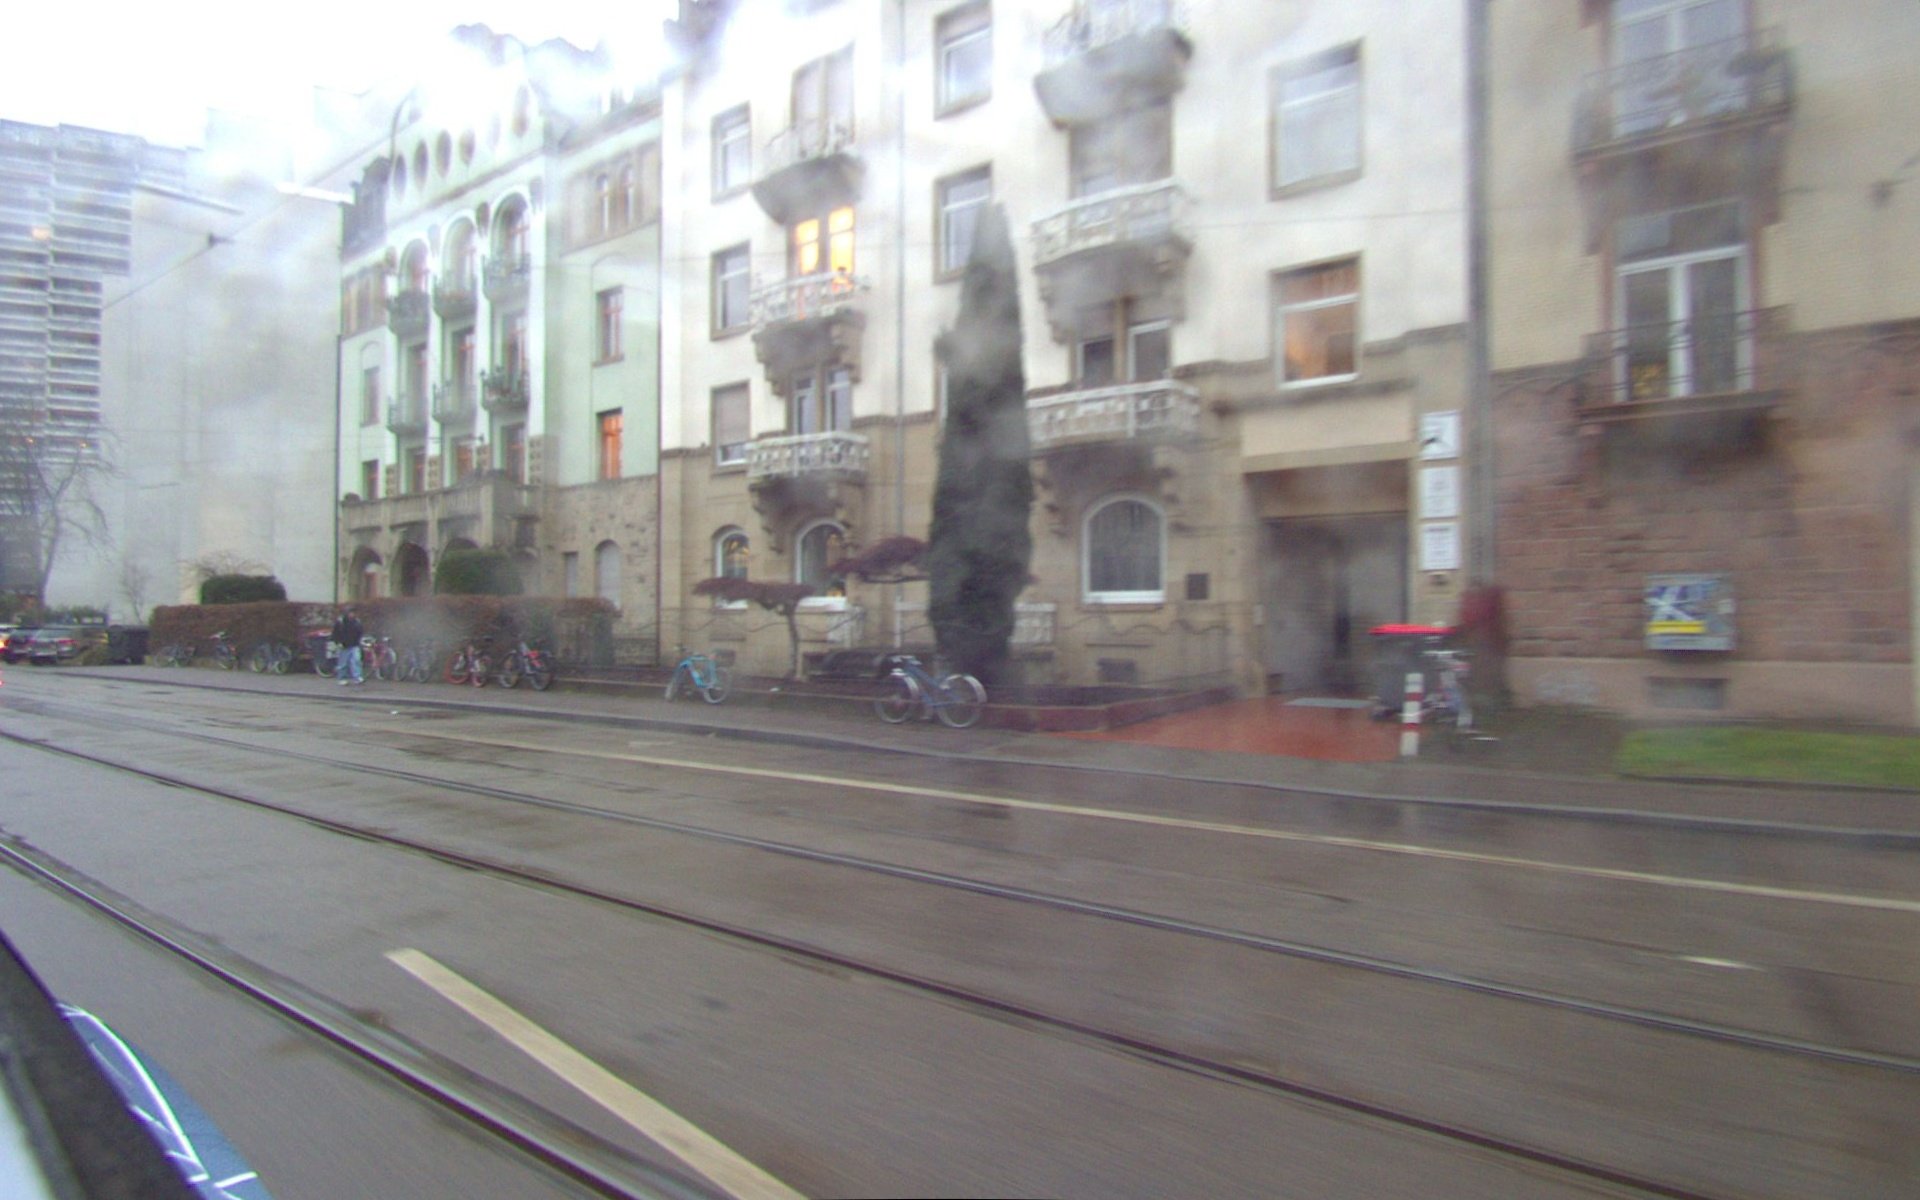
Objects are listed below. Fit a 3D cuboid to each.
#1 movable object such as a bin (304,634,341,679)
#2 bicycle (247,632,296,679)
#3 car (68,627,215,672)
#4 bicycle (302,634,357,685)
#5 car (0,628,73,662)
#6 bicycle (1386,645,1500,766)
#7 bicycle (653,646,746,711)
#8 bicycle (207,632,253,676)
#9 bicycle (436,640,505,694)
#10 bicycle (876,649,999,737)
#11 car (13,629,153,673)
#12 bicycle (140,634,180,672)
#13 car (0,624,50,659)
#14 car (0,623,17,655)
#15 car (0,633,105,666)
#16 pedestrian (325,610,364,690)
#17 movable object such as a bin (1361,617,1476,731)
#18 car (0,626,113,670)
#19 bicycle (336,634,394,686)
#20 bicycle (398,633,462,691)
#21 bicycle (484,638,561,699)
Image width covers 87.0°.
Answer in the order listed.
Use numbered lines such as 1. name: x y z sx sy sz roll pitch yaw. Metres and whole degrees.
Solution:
1. movable object such as a bin: -17.030 1.498 27.033 0.674 1.173 0.651 -1 -2 39
2. bicycle: -18.626 1.486 27.363 1.660 1.221 0.617 -1 -2 39
3. car: -29.732 1.761 36.927 1.847 1.505 3.991 0 -1 7
4. bicycle: -15.636 1.447 25.081 1.660 1.221 0.617 -1 -2 39
5. car: -42.702 2.010 45.698 1.842 1.460 4.000 0 -1 -1
6. bicycle: 5.523 1.128 11.485 0.694 1.114 2.327 -1 0 37
7. bicycle: -4.343 1.278 16.820 1.660 1.010 0.617 -1 -2 39
8. bicycle: -20.760 1.525 28.782 1.660 1.221 0.617 -1 -2 39
9. bicycle: -10.269 1.380 21.207 1.724 1.073 0.617 -1 -2 39
10. bicycle: -0.321 1.228 13.738 1.660 1.101 0.617 -1 -2 39
11. car: -32.291 1.841 37.412 1.739 1.497 4.000 0 -1 -1
12. bicycle: -25.162 1.650 31.830 1.660 1.173 0.617 -1 -1 39
13. car: -46.037 1.964 48.181 1.842 1.608 4.000 0 -1 -1
14. car: -48.619 1.914 49.187 1.842 1.608 4.000 0 -1 -1
15. car: -37.403 2.012 41.499 1.687 1.262 3.667 0 -2 -2
16. pedestrian: -13.643 1.087 22.444 0.644 1.738 0.567 0 0 40
17. movable object such as a bin: 6.150 0.947 13.569 1.166 1.390 1.092 -1 1 38
18. car: -35.050 1.802 38.781 1.842 1.608 4.000 0 -1 -1
19. bicycle: -13.988 1.382 23.770 1.660 1.173 0.617 -1 -2 39
20. bicycle: -11.675 1.337 22.291 1.660 1.221 0.617 -1 -2 39
21. bicycle: -8.627 1.322 19.934 1.781 1.134 0.617 -1 -2 39
